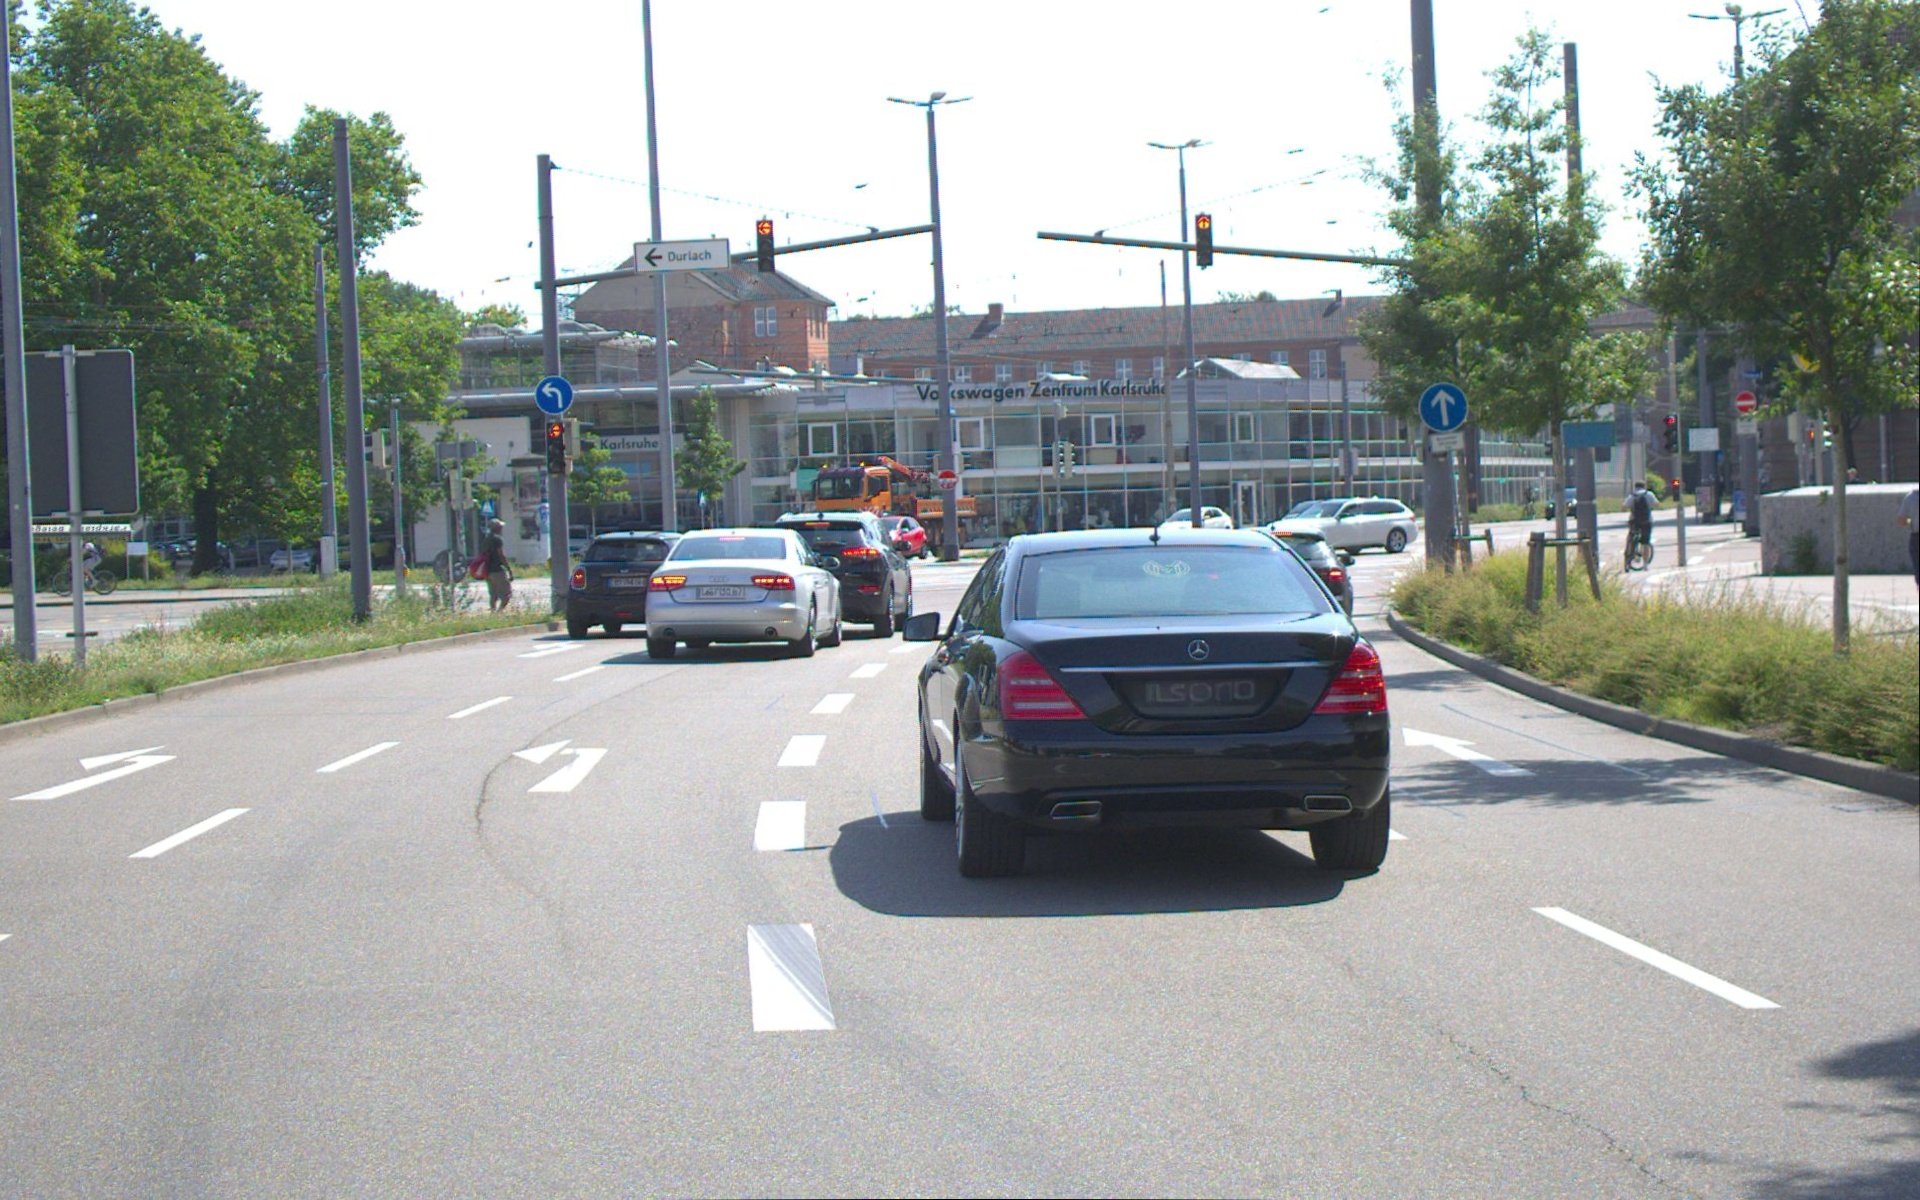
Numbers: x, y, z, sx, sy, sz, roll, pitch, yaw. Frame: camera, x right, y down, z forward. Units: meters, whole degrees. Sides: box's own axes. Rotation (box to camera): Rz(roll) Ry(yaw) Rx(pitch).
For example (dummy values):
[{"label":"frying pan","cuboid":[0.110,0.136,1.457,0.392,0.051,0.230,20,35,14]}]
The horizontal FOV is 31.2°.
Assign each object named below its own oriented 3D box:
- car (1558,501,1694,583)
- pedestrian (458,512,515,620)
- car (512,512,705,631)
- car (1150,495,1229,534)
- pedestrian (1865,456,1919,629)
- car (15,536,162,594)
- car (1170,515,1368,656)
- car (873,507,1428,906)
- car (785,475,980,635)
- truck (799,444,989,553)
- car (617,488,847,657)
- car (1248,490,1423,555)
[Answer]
[{"label":"car","cuboid":[13.342,-1.178,68.659,1.796,1.505,4.272,-1,2,23]},{"label":"pedestrian","cuboid":[-7.389,-0.537,53.670,0.648,1.655,0.663,-1,1,10]},{"label":"car","cuboid":[-4.837,-0.426,47.809,1.795,1.505,3.999,-2,2,7]},{"label":"car","cuboid":[9.320,-3.472,139.337,1.797,1.505,3.995,-1,2,26]},{"label":"pedestrian","cuboid":[9.728,-0.595,34.798,0.870,1.719,0.800,-2,1,-1]},{"label":"car","cuboid":[-24.945,-1.015,98.473,3.986,1.505,1.801,-2,1,-13]},{"label":"car","cuboid":[3.490,-0.200,39.411,1.794,1.505,4.001,-1,1,-1]},{"label":"car","cuboid":[0.711,0.412,16.141,1.858,1.525,4.714,-2,0,-5]},{"label":"car","cuboid":[-0.994,-0.639,46.356,1.994,2.006,3.999,-2,1,7]},{"label":"truck","cuboid":[-2.307,-3.691,124.020,3.069,3.717,7.917,-1,2,30]},{"label":"car","cuboid":[-2.586,-0.359,39.958,1.994,1.809,4.000,-2,1,5]},{"label":"car","cuboid":[9.647,-1.992,88.221,4.263,1.505,1.800,-3,2,-33]}]
